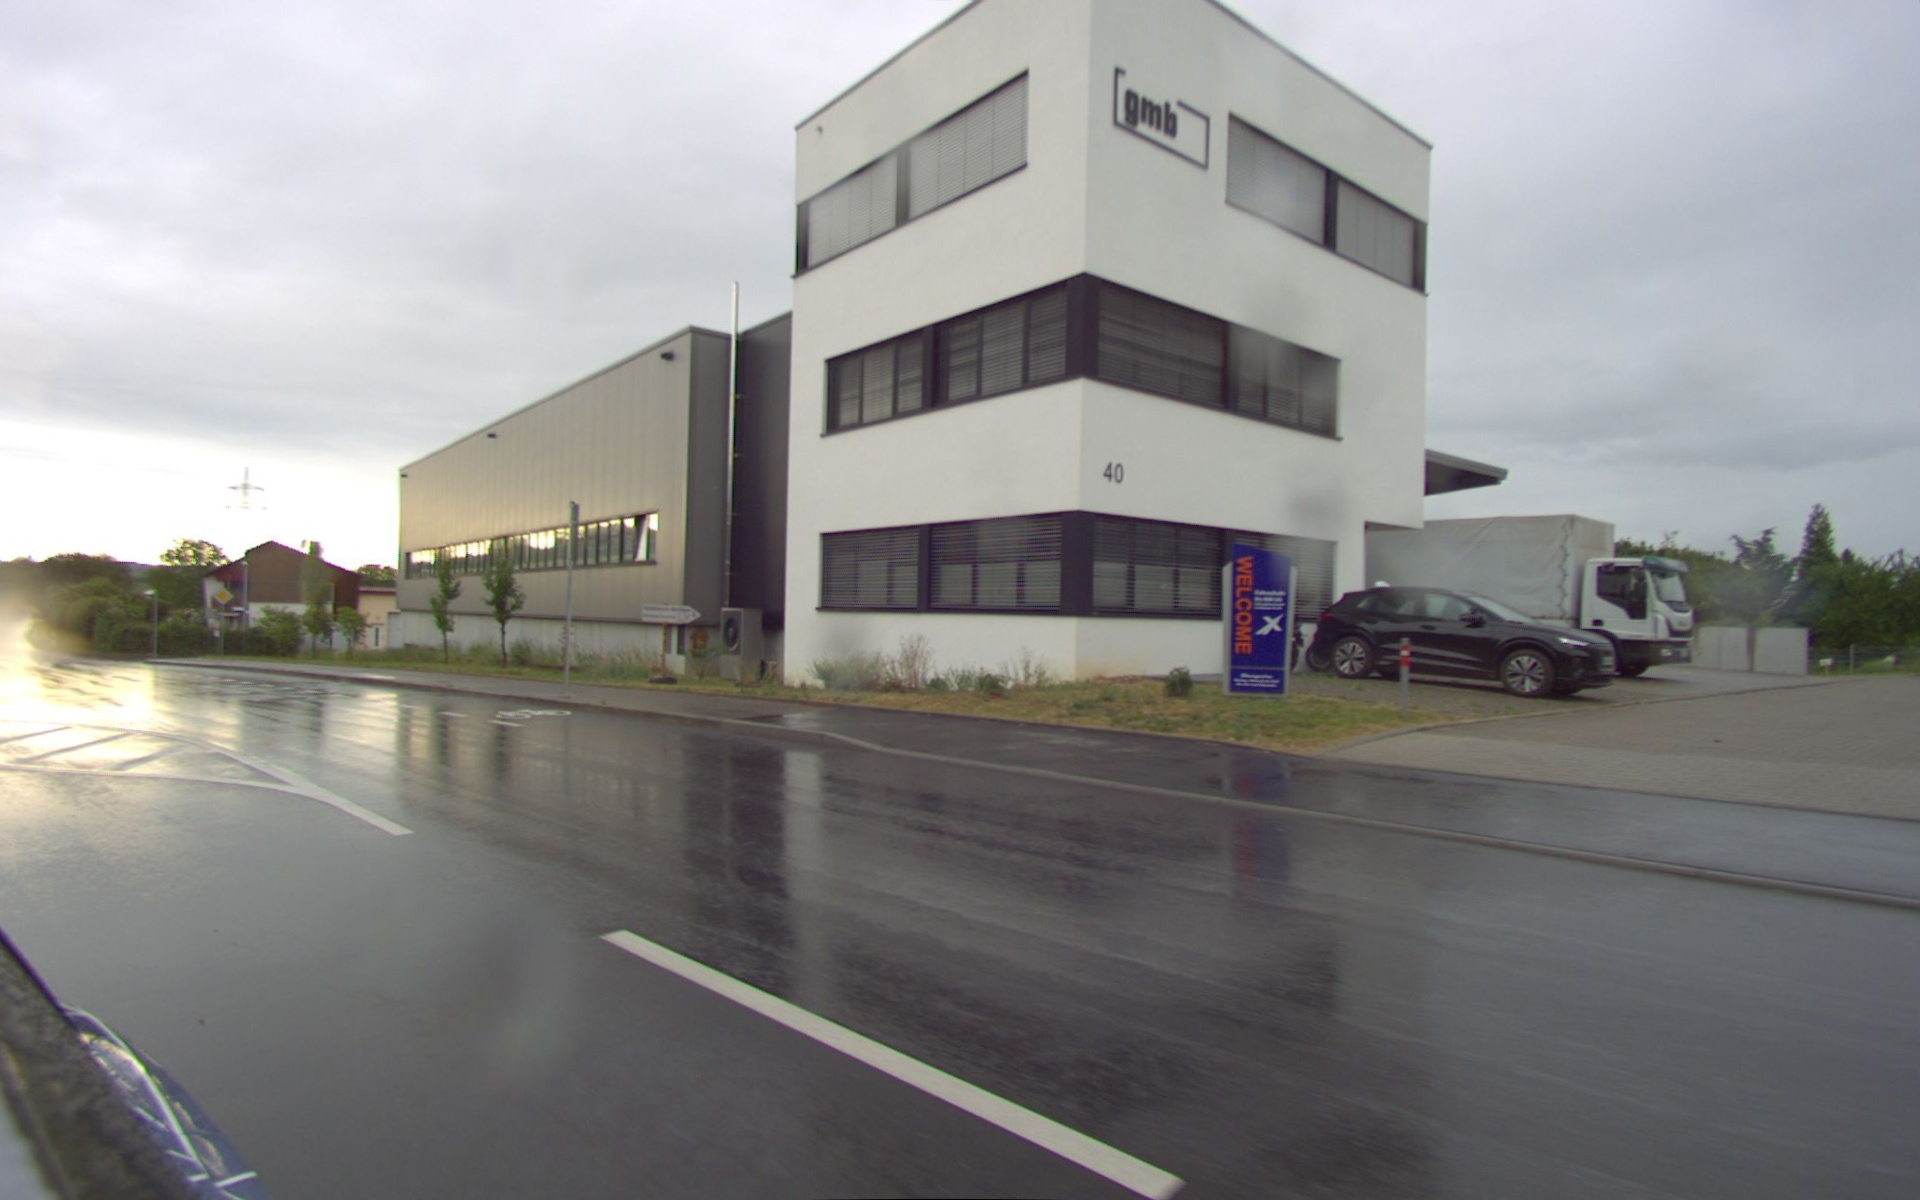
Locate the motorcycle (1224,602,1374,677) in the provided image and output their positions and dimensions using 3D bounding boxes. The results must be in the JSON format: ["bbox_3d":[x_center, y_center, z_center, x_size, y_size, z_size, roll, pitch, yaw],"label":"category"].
[{"bbox_3d":[6.288,0.679,18.568,3.638,1.253,0.779,0,-1,-39],"label":"motorcycle"}]

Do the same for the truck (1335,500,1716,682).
[{"bbox_3d":[12.915,-0.124,23.794,2.636,3.603,7.349,0,-1,-39],"label":"truck"}]

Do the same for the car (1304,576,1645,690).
[{"bbox_3d":[8.238,0.511,16.551,1.830,1.608,4.610,0,-1,-43],"label":"car"}]
